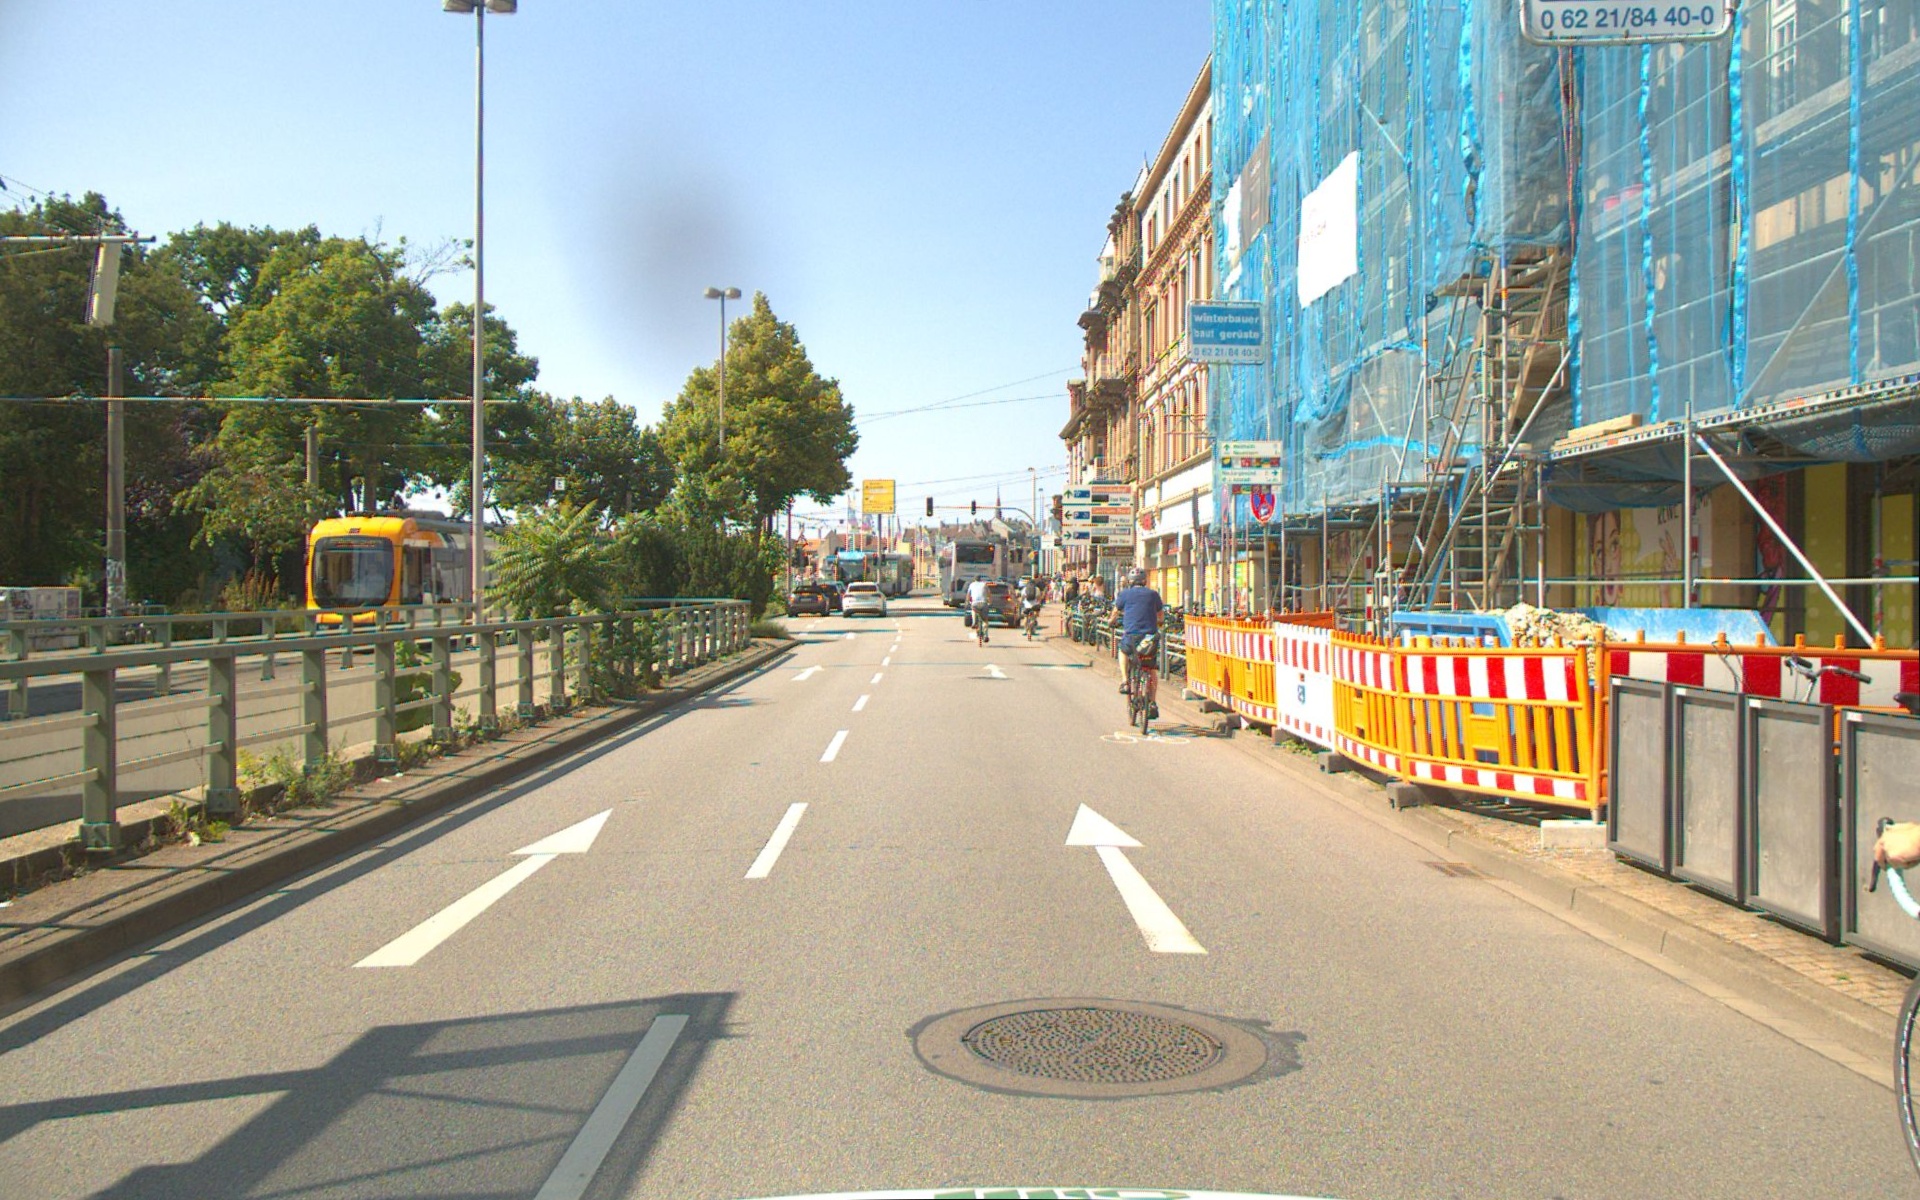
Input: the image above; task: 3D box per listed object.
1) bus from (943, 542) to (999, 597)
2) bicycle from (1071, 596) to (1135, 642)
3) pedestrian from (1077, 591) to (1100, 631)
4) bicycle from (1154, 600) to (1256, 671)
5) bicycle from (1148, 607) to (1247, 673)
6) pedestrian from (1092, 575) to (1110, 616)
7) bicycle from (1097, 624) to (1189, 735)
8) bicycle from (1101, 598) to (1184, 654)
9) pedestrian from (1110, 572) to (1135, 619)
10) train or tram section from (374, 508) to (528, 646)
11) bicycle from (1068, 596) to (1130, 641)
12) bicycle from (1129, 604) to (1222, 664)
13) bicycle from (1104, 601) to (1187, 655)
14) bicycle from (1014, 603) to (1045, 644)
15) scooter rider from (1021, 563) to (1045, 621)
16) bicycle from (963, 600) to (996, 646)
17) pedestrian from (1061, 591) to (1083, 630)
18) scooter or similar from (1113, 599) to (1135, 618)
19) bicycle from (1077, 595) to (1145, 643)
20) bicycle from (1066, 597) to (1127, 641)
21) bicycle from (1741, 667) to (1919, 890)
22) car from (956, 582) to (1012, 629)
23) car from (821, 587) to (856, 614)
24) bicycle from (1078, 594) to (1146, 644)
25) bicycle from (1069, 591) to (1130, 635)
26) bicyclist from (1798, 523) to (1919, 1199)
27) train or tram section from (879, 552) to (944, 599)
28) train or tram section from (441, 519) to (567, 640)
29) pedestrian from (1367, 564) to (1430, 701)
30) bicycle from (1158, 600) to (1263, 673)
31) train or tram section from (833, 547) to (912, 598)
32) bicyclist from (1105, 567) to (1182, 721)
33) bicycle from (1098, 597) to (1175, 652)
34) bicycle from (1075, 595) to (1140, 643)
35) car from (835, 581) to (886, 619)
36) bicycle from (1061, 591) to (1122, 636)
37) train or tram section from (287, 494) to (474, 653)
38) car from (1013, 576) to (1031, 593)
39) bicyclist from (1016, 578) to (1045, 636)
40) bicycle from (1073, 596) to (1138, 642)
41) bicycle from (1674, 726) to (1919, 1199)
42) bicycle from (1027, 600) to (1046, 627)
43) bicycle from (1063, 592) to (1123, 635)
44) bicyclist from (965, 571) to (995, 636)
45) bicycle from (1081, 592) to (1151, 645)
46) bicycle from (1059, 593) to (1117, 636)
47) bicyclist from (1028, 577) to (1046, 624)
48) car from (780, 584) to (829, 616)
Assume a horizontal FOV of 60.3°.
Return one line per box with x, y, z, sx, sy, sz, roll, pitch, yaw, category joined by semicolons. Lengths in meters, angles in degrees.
0.645;-1.643;92.098;2.908;2.825;8.642;2;0;1;bus
3.821;0.503;44.317;1.659;1.199;0.514;1;0;0;bicycle
5.499;0.468;70.821;0.845;1.669;0.875;0;0;-3;pedestrian
4.227;0.608;28.635;1.659;1.199;0.608;1;0;0;bicycle
4.217;0.704;29.380;1.659;1.116;0.608;1;0;0;bicycle
5.710;-0.191;66.951;0.641;1.649;0.815;-1;1;-2;pedestrian
2.011;0.853;18.398;0.719;1.112;1.910;2;0;-2;bicycle
4.003;0.563;36.344;1.735;1.199;0.608;1;0;0;bicycle
6.041;-0.174;61.479;0.740;1.684;0.837;-3;-1;-2;pedestrian
-14.615;-0.627;47.961;2.560;3.643;6.102;2;0;-1;train or tram section
3.816;0.508;45.400;1.659;1.199;0.460;1;0;0;bicycle
4.187;0.660;32.191;1.703;1.128;0.608;1;0;0;bicycle
3.915;0.590;34.949;1.659;1.106;0.608;1;0;0;bicycle
1.959;0.646;46.670;0.719;1.112;1.897;2;0;-1;bicycle
2.277;-0.248;51.839;0.674;1.759;0.778;2;0;0;scooter rider
0.477;0.563;41.794;0.719;1.112;1.897;2;0;-2;bicycle
4.898;0.448;72.499;0.845;1.669;0.875;0;0;-3;pedestrian
6.042;0.314;60.904;0.677;0.661;0.565;-4;0;-2;scooter or similar
3.838;0.477;42.113;1.659;1.199;0.490;1;0;0;bicycle
3.786;0.518;45.949;1.659;1.199;0.469;1;0;-1;bicycle
4.800;0.860;8.127;1.717;1.036;0.482;0;0;-3;bicycle
0.821;0.184;57.961;1.835;1.519;4.000;2;0;0;car
-6.121;0.019;83.860;1.422;1.323;4.000;2;0;0;car
3.821;0.477;41.568;1.659;1.199;0.497;1;0;0;bicycle
3.897;0.361;46.360;1.659;1.199;0.469;1;0;-1;bicycle
2.436;0.585;3.509;0.674;1.488;1.142;2;0;-2;bicyclist
-3.968;-1.974;137.717;2.763;3.643;8.230;2;0;17;train or tram section
-14.699;-0.633;53.682;2.560;3.643;5.356;2;0;-1;train or tram section
5.915;0.436;22.324;0.626;1.807;0.649;2;0;-1;pedestrian
4.227;0.607;27.951;1.659;1.199;0.608;1;0;0;bicycle
-6.744;-2.059;128.919;2.763;3.643;10.037;2;0;17;train or tram section
2.024;0.477;18.335;0.674;1.644;0.918;2;0;-2;bicyclist
3.984;0.556;37.338;1.659;1.199;0.608;1;0;0;bicycle
3.847;0.490;43.183;1.659;1.199;0.463;1;0;0;bicycle
-4.185;0.006;70.069;1.820;1.533;4.000;2;0;0;car
3.778;0.381;47.609;1.659;1.199;0.608;-2;1;0;bicycle
-14.493;-0.620;41.879;2.560;3.643;6.102;2;0;-1;train or tram section
7.138;-1.801;190.190;1.952;1.910;4.001;-1;0;1;car
1.980;0.195;46.597;0.674;1.604;1.049;2;0;-2;bicyclist
3.845;0.498;43.722;1.659;1.199;0.457;1;0;-1;bicycle
2.404;0.920;3.566;0.719;1.112;2.130;2;0;-2;bicycle
3.260;0.554;70.338;0.719;1.112;1.898;2;0;1;bicycle
3.773;0.377;46.955;1.659;1.199;0.608;-1;1;0;bicycle
0.499;0.096;41.757;0.674;1.604;1.049;2;0;-2;bicyclist
3.845;0.447;40.879;1.659;1.262;0.608;1;0;0;bicycle
3.727;0.417;48.241;1.659;1.199;0.608;-1;1;0;bicycle
3.287;0.016;70.348;0.674;1.996;0.778;2;0;0;bicyclist
-6.971;-0.015;74.577;1.778;1.355;4.000;2;0;0;car
